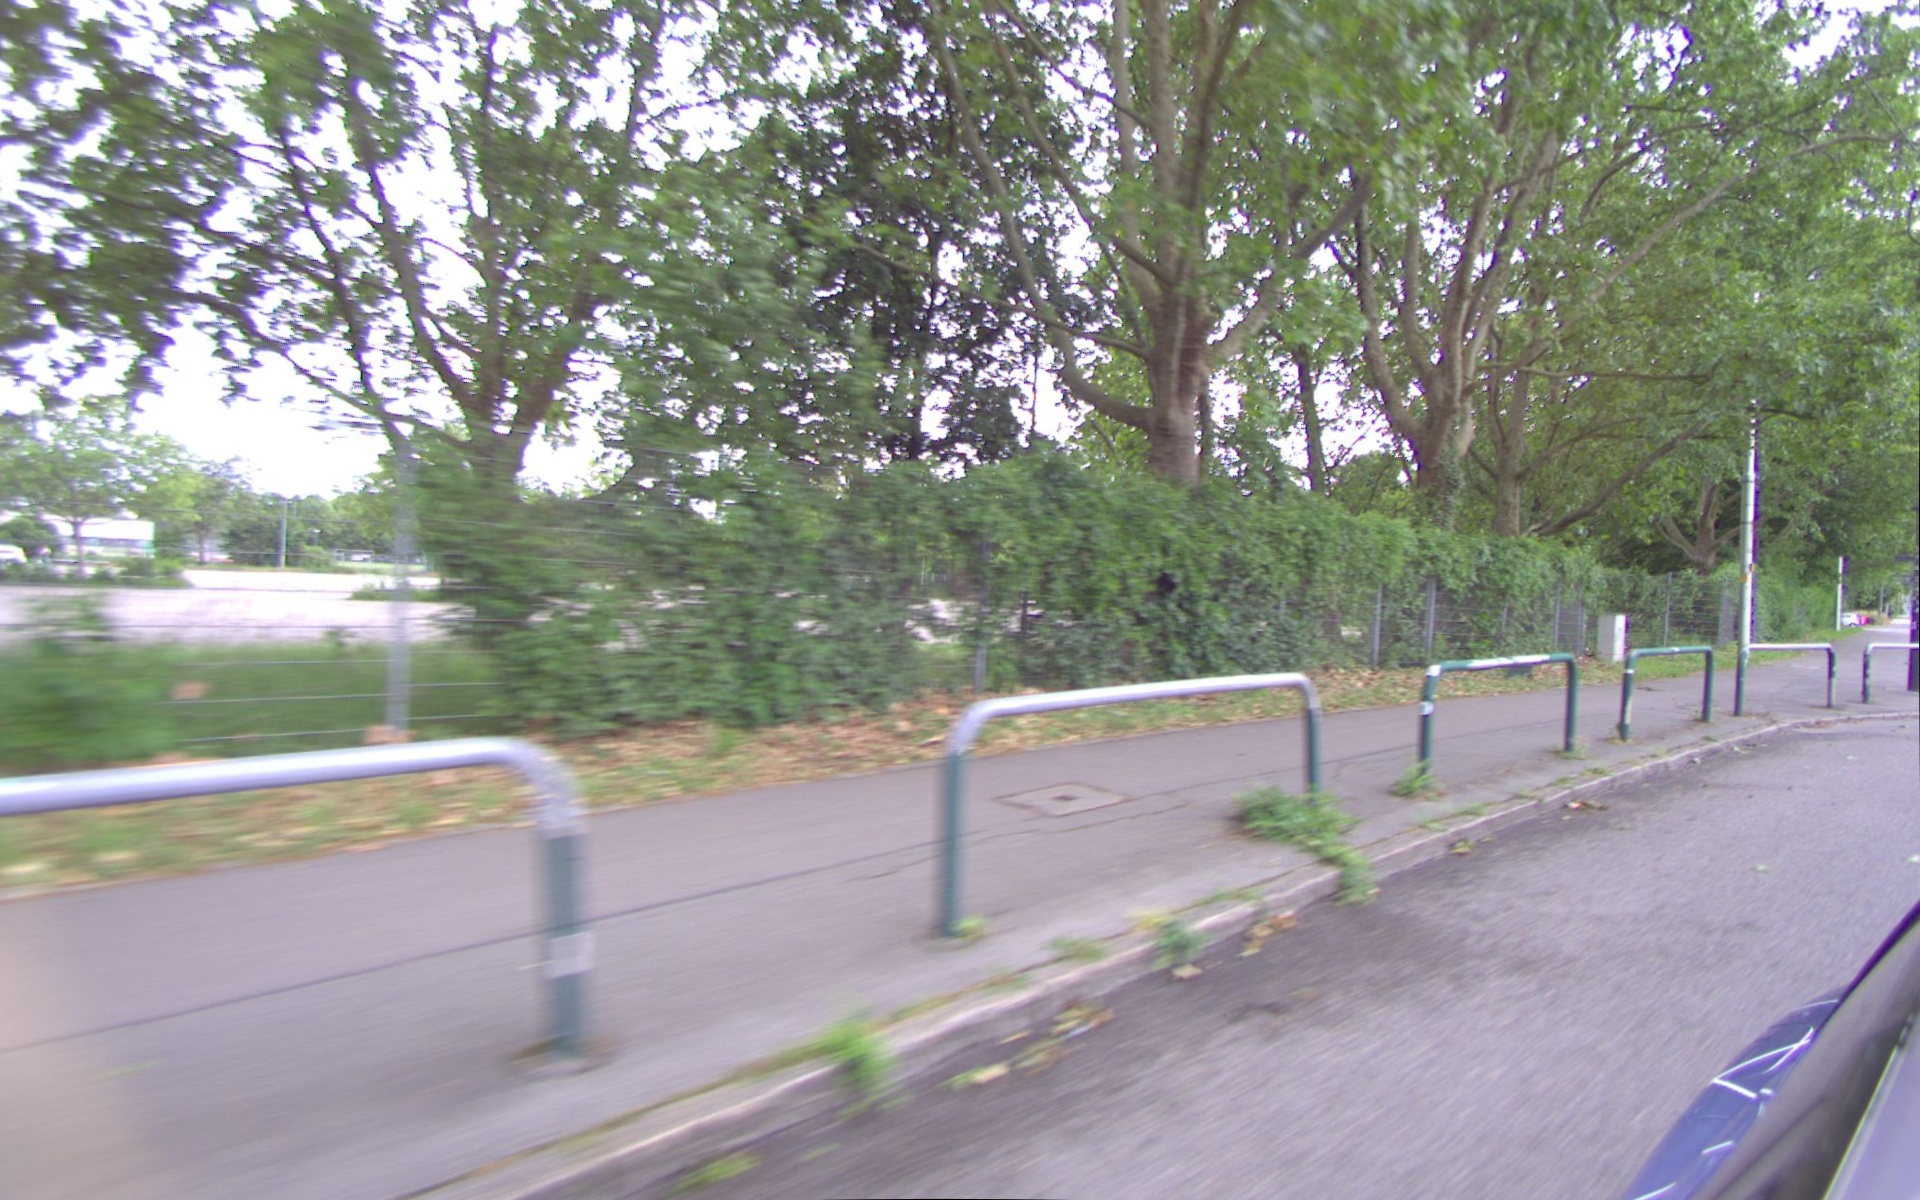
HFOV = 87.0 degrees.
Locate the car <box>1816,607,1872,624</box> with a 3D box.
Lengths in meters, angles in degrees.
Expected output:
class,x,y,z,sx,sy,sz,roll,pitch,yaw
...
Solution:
class,x,y,z,sx,sy,sz,roll,pitch,yaw
car,83.126,1.454,95.205,3.794,1.388,1.745,2,1,-6
